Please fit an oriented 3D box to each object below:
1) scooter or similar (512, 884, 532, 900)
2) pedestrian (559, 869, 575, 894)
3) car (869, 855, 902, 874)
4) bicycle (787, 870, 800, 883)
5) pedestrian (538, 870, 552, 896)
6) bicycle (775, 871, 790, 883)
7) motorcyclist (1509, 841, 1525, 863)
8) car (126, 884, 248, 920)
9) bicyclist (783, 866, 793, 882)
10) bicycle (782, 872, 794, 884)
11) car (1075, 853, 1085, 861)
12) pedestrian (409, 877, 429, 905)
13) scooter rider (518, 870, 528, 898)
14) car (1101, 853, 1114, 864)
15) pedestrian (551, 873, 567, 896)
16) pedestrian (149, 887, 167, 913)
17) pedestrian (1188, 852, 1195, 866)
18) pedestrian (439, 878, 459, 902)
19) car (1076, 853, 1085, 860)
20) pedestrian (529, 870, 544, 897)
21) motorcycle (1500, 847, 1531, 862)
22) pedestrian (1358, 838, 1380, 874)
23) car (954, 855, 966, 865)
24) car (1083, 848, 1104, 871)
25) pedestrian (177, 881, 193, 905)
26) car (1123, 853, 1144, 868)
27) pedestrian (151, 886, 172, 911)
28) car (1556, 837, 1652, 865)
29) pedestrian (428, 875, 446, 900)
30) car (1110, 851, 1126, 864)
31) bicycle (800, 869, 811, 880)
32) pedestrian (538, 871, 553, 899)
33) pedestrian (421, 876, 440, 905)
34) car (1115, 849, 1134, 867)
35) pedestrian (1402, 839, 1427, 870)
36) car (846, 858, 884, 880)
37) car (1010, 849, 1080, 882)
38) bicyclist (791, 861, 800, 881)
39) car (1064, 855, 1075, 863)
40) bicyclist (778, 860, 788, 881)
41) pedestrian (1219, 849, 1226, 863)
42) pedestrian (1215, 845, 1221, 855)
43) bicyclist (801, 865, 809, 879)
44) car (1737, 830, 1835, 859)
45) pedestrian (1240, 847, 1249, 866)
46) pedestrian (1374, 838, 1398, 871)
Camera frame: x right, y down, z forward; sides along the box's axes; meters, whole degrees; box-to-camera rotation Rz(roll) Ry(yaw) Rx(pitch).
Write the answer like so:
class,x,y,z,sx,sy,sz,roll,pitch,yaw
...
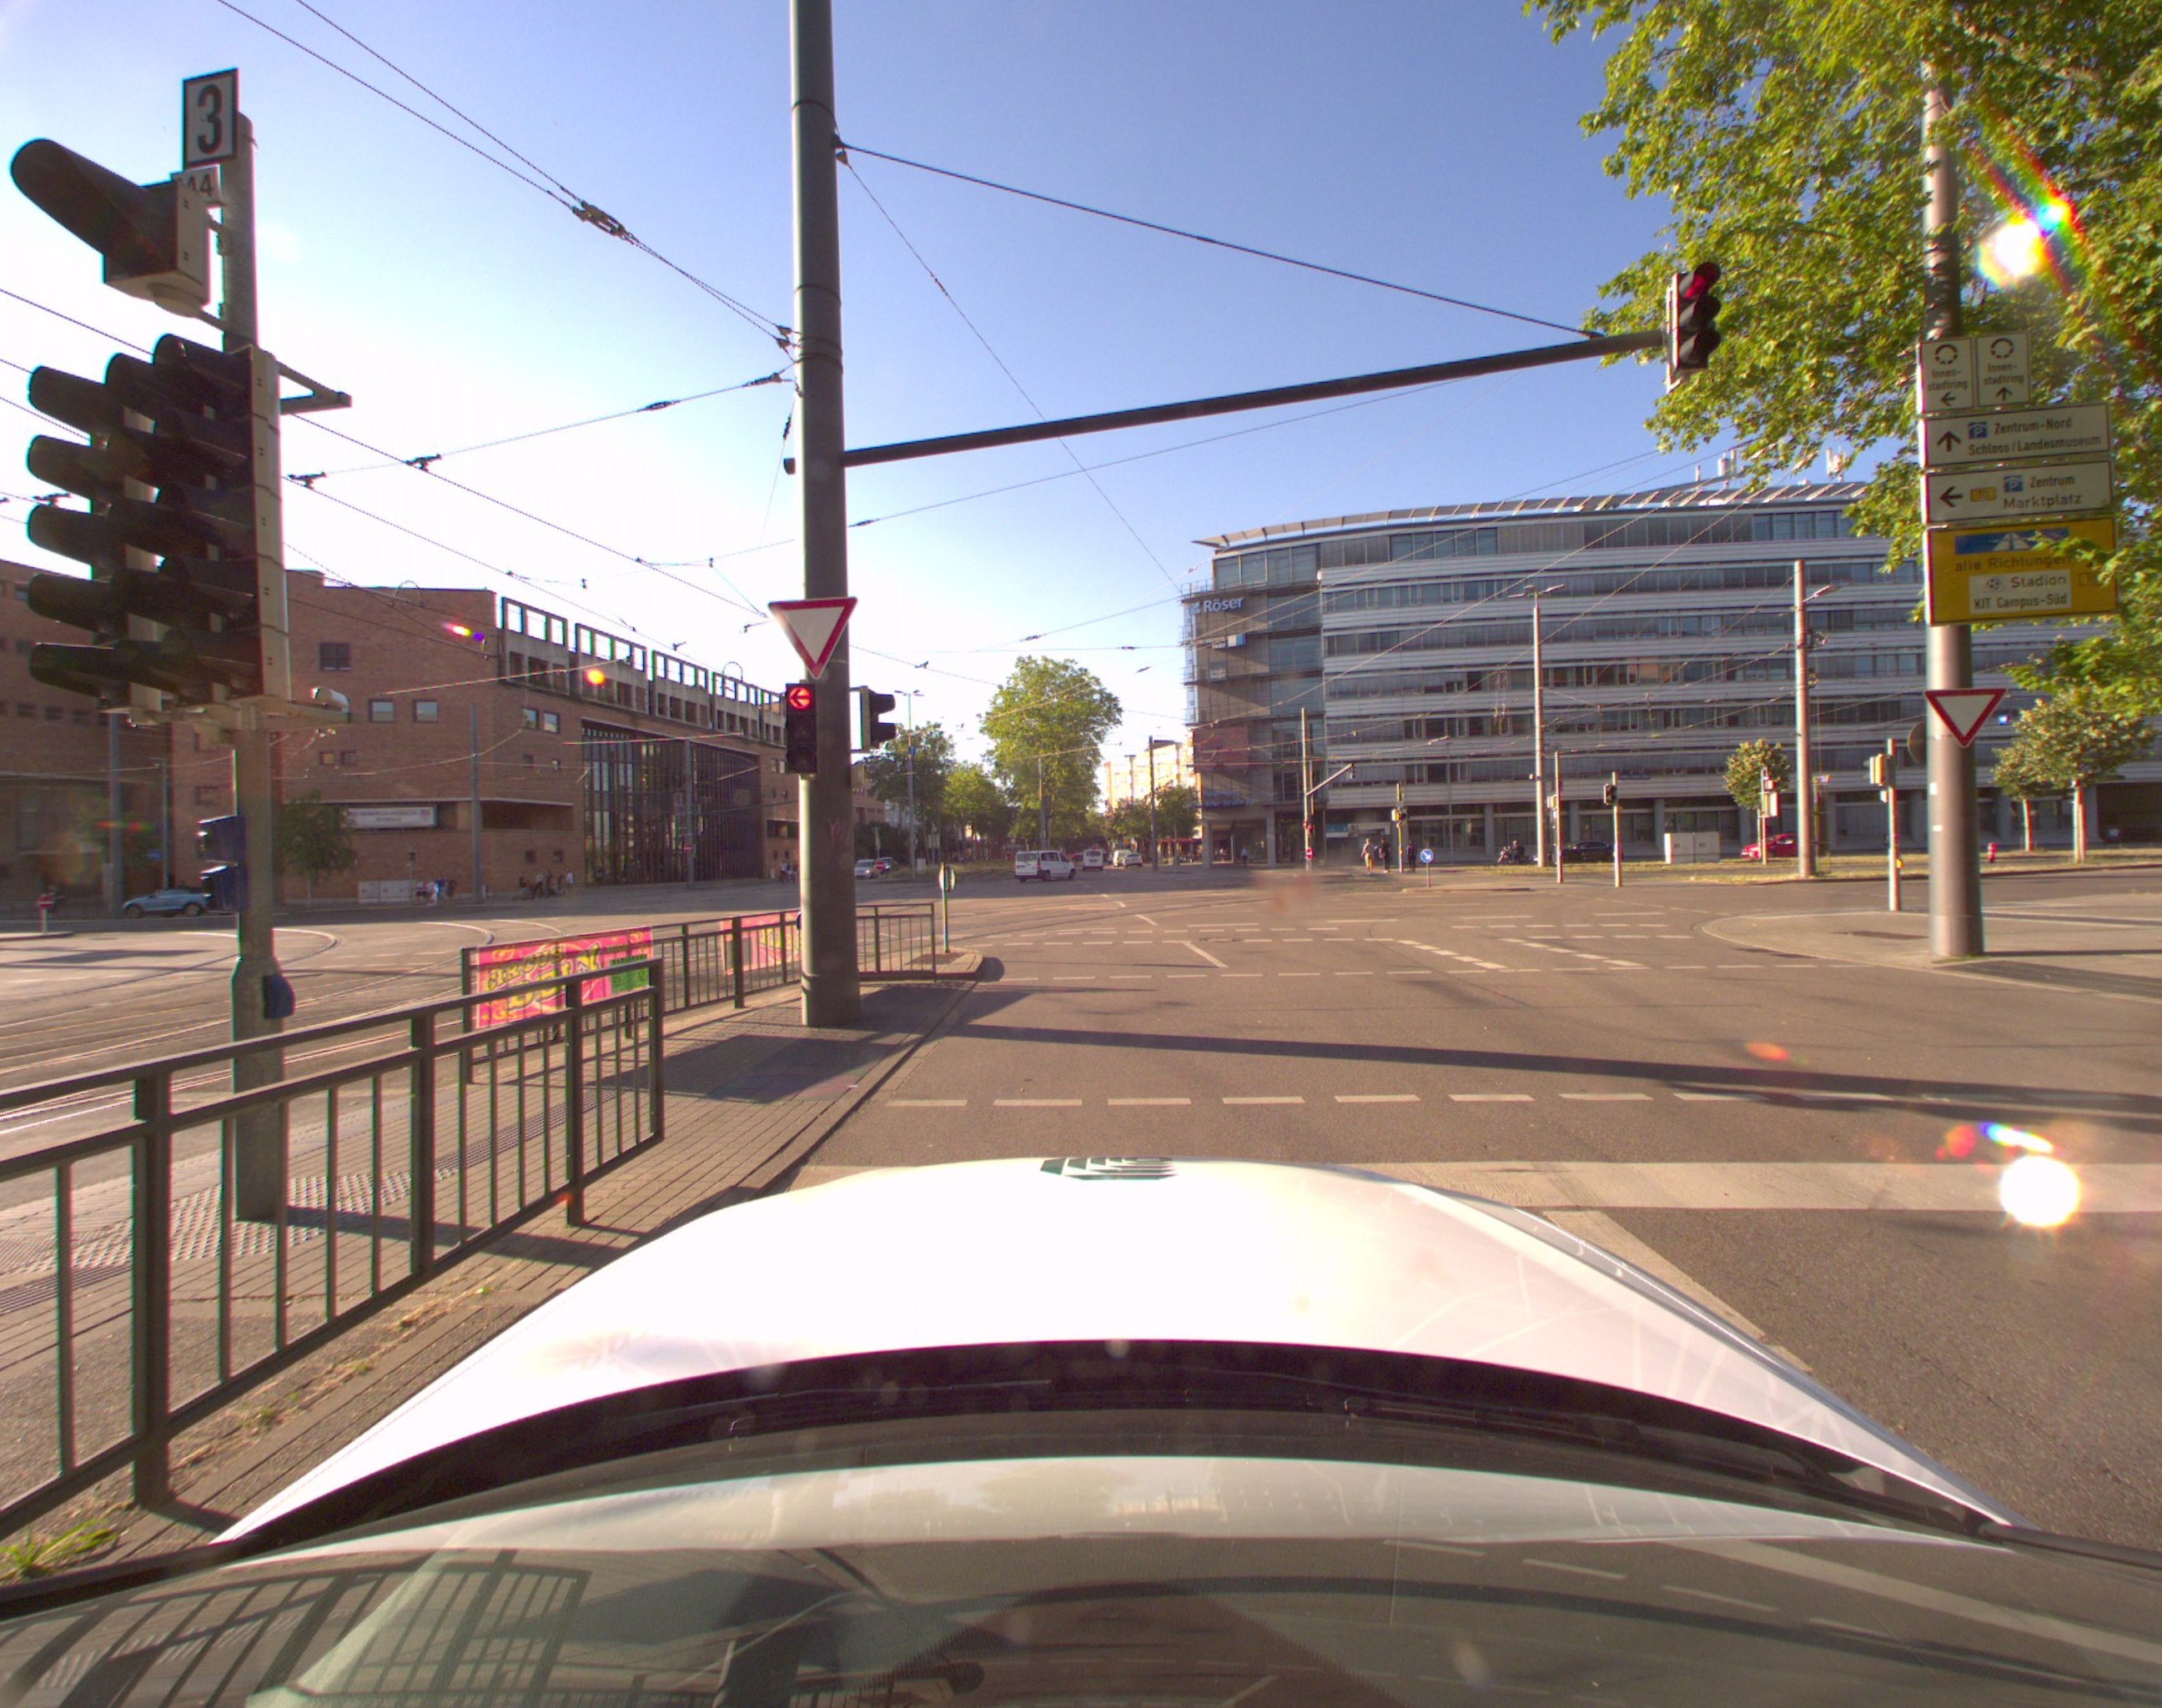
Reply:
class,x,y,z,sx,sy,sz,roll,pitch,yaw
scooter or similar,-33.729,2.283,49.152,0.956,0.899,0.173,-2,0,-45
pedestrian,-33.836,1.801,53.603,0.606,1.625,0.621,-2,0,18
car,-18.117,0.964,75.530,1.987,1.640,4.001,-2,0,1
bicycle,-23.423,1.844,66.339,0.471,0.963,1.576,-2,0,2
pedestrian,-34.911,1.868,53.042,0.566,1.683,0.553,-2,0,40
bicycle,-24.314,1.856,66.359,0.540,0.963,1.587,-2,0,2
motorcyclist,26.188,-0.129,48.932,0.708,1.275,0.460,-2,0,5
car,-45.419,2.396,41.449,3.704,1.575,1.999,-2,0,-6
bicyclist,-24.982,1.700,69.433,0.503,1.304,0.581,-2,0,1
bicycle,-24.980,2.007,69.414,0.466,0.963,1.320,-2,0,2
car,-0.270,0.551,160.856,1.791,1.442,4.002,-2,0,2
pedestrian,-38.450,2.144,47.286,0.594,1.614,0.589,-2,0,1
scooter rider,-33.716,1.812,49.191,0.441,1.647,0.226,-2,0,-44
car,4.090,0.653,126.780,1.986,1.618,4.002,-2,0,2
pedestrian,-33.653,1.980,52.459,0.634,1.421,0.603,-2,0,29
pedestrian,-54.254,2.686,47.866,0.508,1.463,0.466,-2,0,-6
pedestrian,14.200,0.620,104.871,0.741,1.714,0.612,-2,0,1
pedestrian,-36.538,2.079,47.095,0.597,1.339,0.684,-2,0,17
car,-0.056,0.518,171.671,1.791,1.442,4.002,-2,0,2
pedestrian,-34.412,1.865,51.480,0.625,1.683,0.643,-2,0,-43
motorcycle,26.125,0.030,48.930,1.560,0.810,0.468,-2,0,6
pedestrian,14.708,0.099,41.632,0.855,1.788,0.877,-2,0,30
car,-25.536,1.194,172.381,1.987,2.013,3.999,-2,0,-1
car,1.118,0.488,71.665,1.749,1.867,4.526,-2,0,1
pedestrian,-54.879,2.388,49.863,0.549,1.427,0.563,-2,0,33
car,5.288,0.620,82.825,1.986,1.376,4.002,-2,0,2
pedestrian,-55.667,2.702,49.297,0.587,1.463,0.534,-2,0,0
car,29.293,-0.175,45.699,4.136,1.398,1.789,-2,0,7
pedestrian,-37.974,1.969,48.008,0.568,1.453,0.612,-2,0,-13
car,4.818,0.475,105.298,1.986,1.618,4.002,-2,0,2
bicycle,-24.371,1.817,71.989,0.449,0.963,1.348,-2,0,2
pedestrian,-33.396,1.947,50.769,0.584,1.683,0.554,-2,0,36
pedestrian,-37.557,2.087,47.030,0.597,1.648,0.549,-2,0,1
car,4.742,0.448,89.642,1.986,1.860,4.002,-2,0,2
pedestrian,17.219,0.029,42.080,0.943,1.564,0.899,-2,0,9
car,-18.007,1.221,67.955,1.987,1.640,4.001,-2,0,1
car,-2.122,0.685,50.278,1.943,1.848,5.362,-2,0,26
bicyclist,-23.328,1.422,66.525,0.456,1.603,0.581,-2,0,1
car,-2.054,0.977,147.481,1.792,1.442,3.999,0,0,0
bicyclist,-24.320,1.354,66.392,0.534,1.731,0.581,-2,0,1
pedestrian,14.784,0.213,85.051,0.608,1.507,0.580,-2,0,9
pedestrian,22.384,-0.626,133.034,0.741,1.714,0.612,-2,0,1
bicyclist,-24.380,1.591,71.981,0.503,1.179,0.581,-2,0,1
car,41.030,-0.552,47.459,3.966,1.393,1.789,-4,0,7
pedestrian,13.067,0.197,64.971,0.608,1.507,0.580,-2,0,8
pedestrian,15.977,0.031,42.658,0.907,1.685,1.038,-2,0,9
